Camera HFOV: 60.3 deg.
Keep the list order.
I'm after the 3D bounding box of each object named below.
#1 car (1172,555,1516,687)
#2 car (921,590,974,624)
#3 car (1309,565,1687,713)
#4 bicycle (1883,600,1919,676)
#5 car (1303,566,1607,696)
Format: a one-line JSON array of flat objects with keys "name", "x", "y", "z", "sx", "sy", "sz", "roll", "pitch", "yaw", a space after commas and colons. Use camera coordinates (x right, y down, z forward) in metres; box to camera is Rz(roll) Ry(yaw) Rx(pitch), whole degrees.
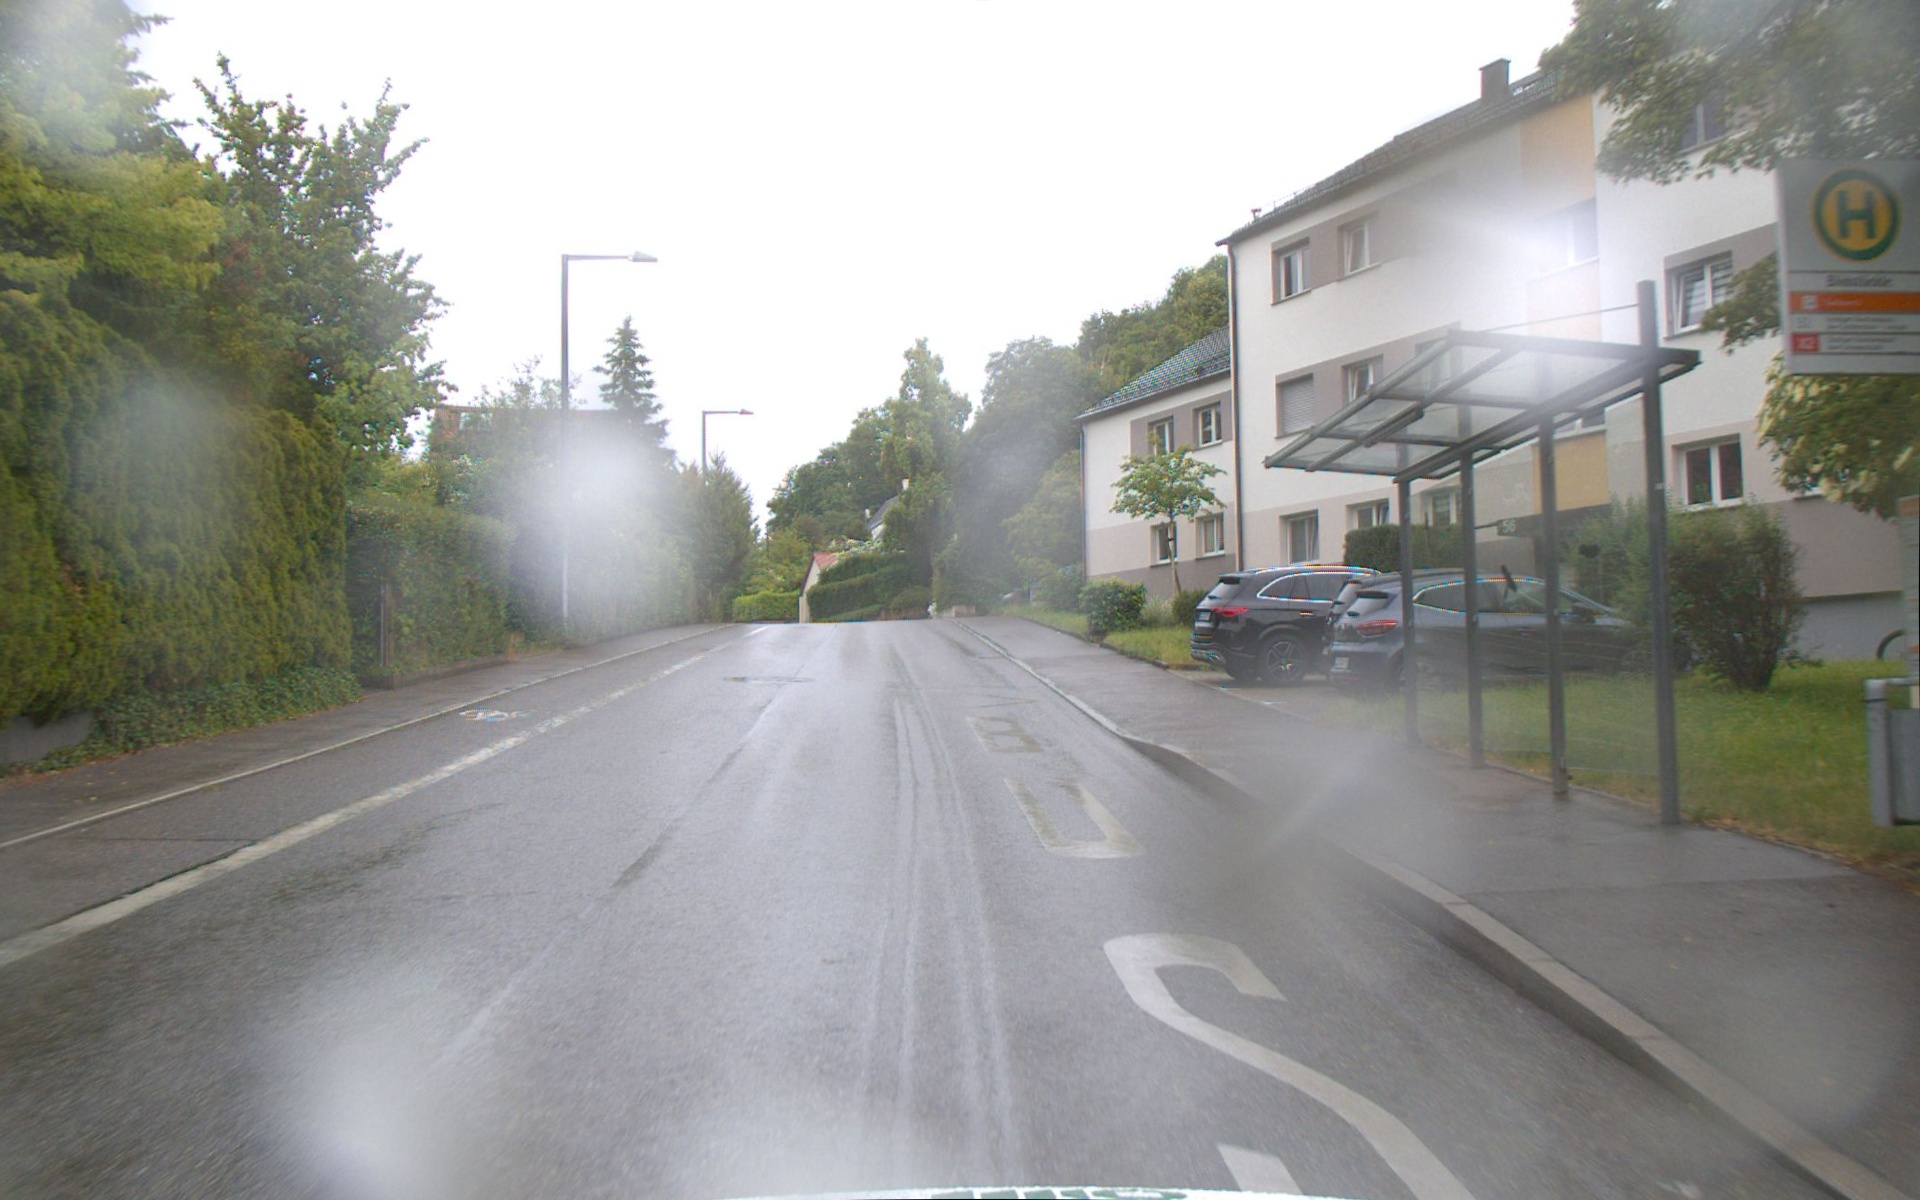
[{"name": "car", "x": 5.475, "y": 0.260, "z": 23.801, "sx": 4.443, "sy": 1.689, "sz": 1.852, "roll": -2, "pitch": 1, "yaw": -9}, {"name": "car", "x": -0.682, "y": 0.371, "z": 85.209, "sx": 1.509, "sy": 1.561, "sz": 3.825, "roll": -5, "pitch": 0, "yaw": -18}, {"name": "car", "x": 5.992, "y": 0.395, "z": 18.657, "sx": 3.670, "sy": 1.484, "sz": 1.723, "roll": -2, "pitch": 1, "yaw": -4}, {"name": "bicycle", "x": 13.165, "y": 0.513, "z": 21.851, "sx": 0.564, "sy": 1.007, "sz": 1.667, "roll": 0, "pitch": 0, "yaw": -27}, {"name": "car", "x": 6.311, "y": 0.364, "z": 21.298, "sx": 3.371, "sy": 1.522, "sz": 1.666, "roll": -2, "pitch": 1, "yaw": -4}]
